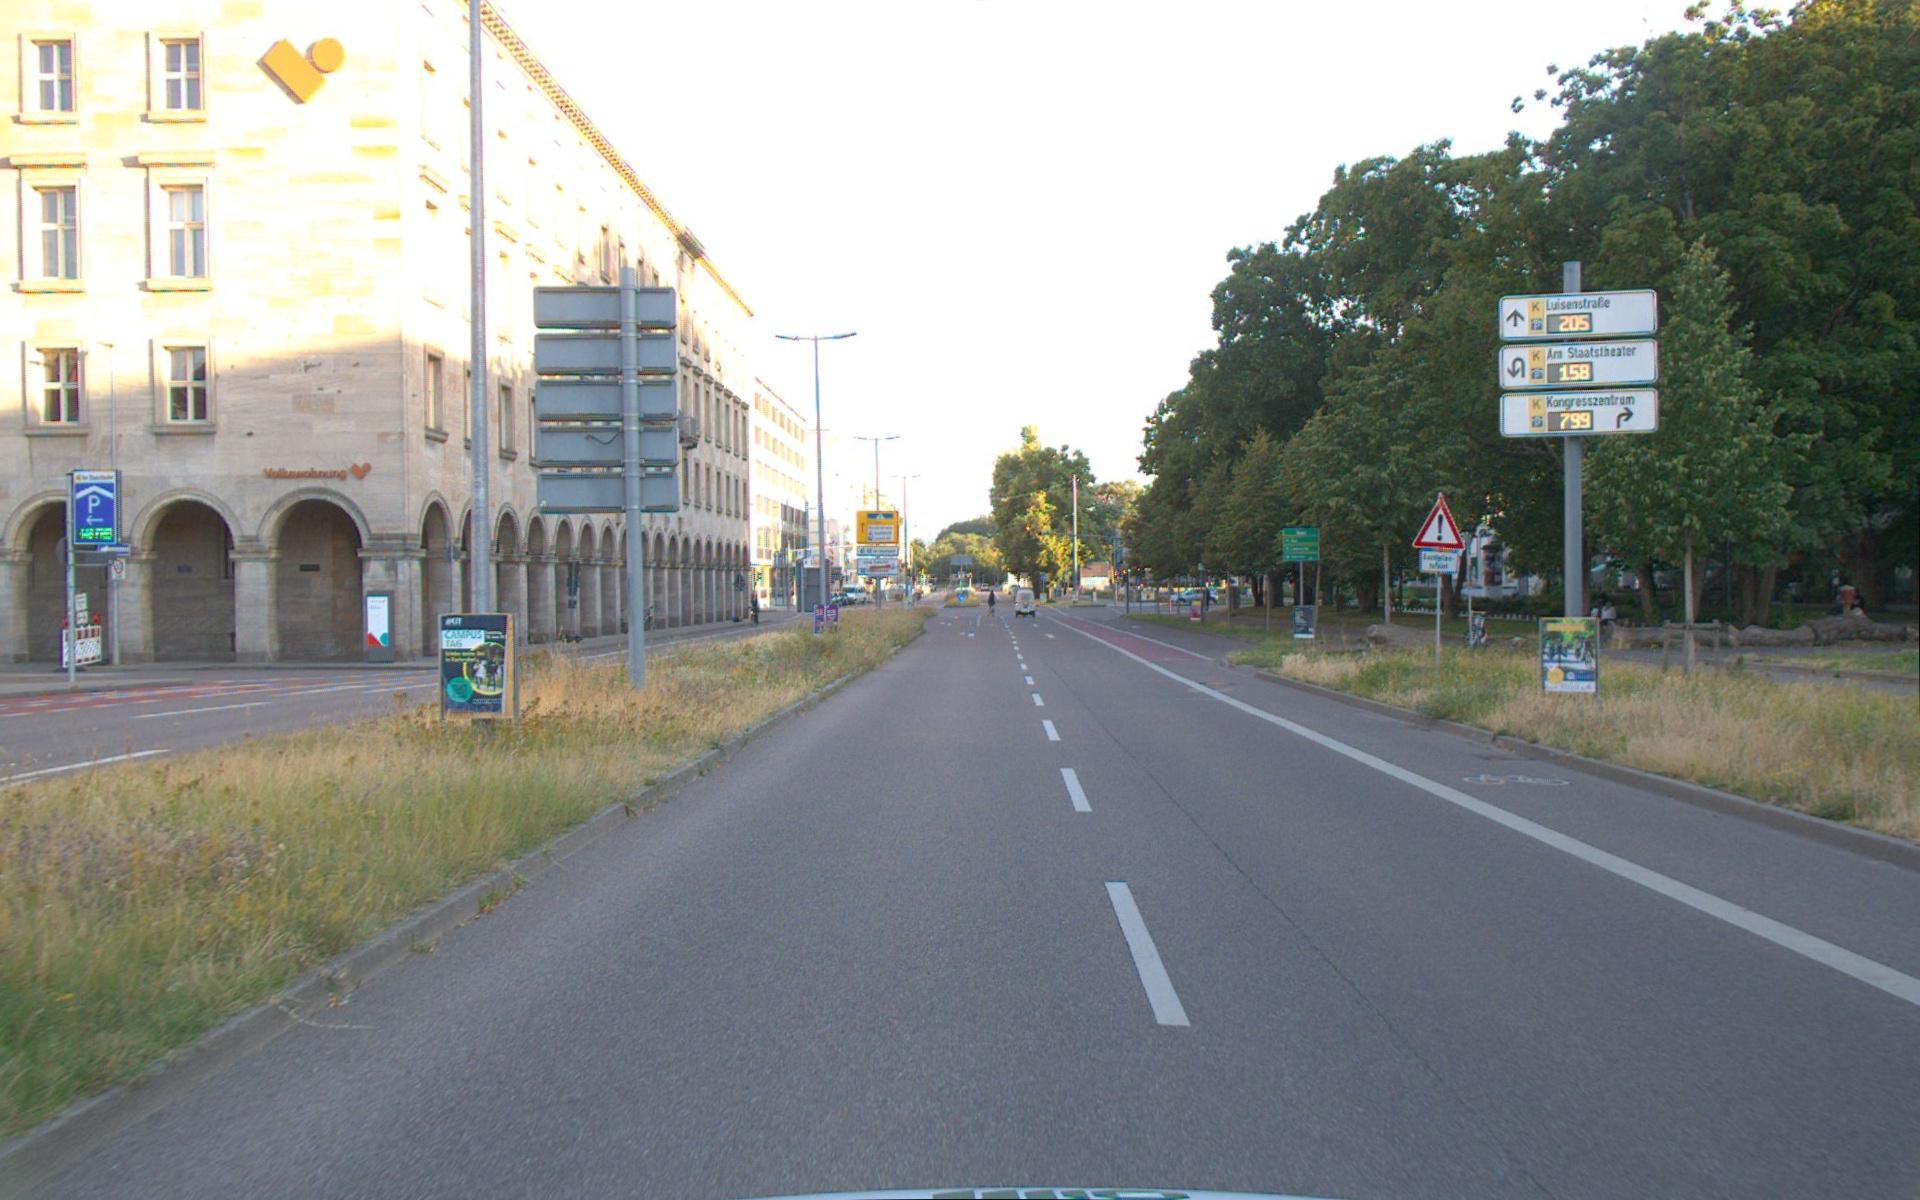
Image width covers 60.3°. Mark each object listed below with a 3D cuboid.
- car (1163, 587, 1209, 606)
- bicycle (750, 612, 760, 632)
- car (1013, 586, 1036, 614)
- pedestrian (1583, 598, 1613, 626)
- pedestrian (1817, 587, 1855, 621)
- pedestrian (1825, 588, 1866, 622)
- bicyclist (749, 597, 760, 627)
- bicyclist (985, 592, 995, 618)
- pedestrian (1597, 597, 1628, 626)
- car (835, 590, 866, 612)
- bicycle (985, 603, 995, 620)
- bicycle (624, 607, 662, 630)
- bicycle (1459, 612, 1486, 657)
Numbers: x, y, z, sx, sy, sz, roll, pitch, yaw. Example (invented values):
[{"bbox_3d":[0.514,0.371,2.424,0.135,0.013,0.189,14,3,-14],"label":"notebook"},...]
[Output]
[{"bbox_3d":[19.909,-0.289,145.947,3.903,1.601,2.001,-1,0,3],"label":"car"},{"bbox_3d":[-11.857,1.267,95.578,0.531,1.023,2.001,-1,2,-9],"label":"bicycle"},{"bbox_3d":[4.261,0.016,109.460,1.429,1.812,2.565,-1,0,3],"label":"car"},{"bbox_3d":[20.535,0.377,53.254,0.670,0.900,0.589,-1,0,-24],"label":"pedestrian"},{"bbox_3d":[34.387,0.158,64.959,1.108,1.282,0.726,-1,0,3],"label":"pedestrian"},{"bbox_3d":[34.279,0.174,64.009,1.108,1.282,0.906,-1,0,3],"label":"pedestrian"},{"bbox_3d":[-11.896,0.717,95.707,0.526,1.723,0.747,-1,0,-10],"label":"bicyclist"},{"bbox_3d":[1.971,0.344,109.742,0.615,1.723,0.748,-1,0,0],"label":"bicyclist"},{"bbox_3d":[20.790,0.363,52.670,0.670,0.900,0.619,-1,0,-23],"label":"pedestrian"},{"bbox_3d":[-13.145,0.136,198.936,2.130,2.427,5.993,-2,-2,12],"label":"car"},{"bbox_3d":[1.993,0.779,109.624,0.624,1.087,2.069,0,0,1],"label":"bicycle"},{"bbox_3d":[-14.915,0.878,77.833,0.469,1.023,1.997,-1,0,36],"label":"bicycle"},{"bbox_3d":[12.691,0.842,40.953,0.484,1.023,1.899,-4,0,20],"label":"bicycle"}]
